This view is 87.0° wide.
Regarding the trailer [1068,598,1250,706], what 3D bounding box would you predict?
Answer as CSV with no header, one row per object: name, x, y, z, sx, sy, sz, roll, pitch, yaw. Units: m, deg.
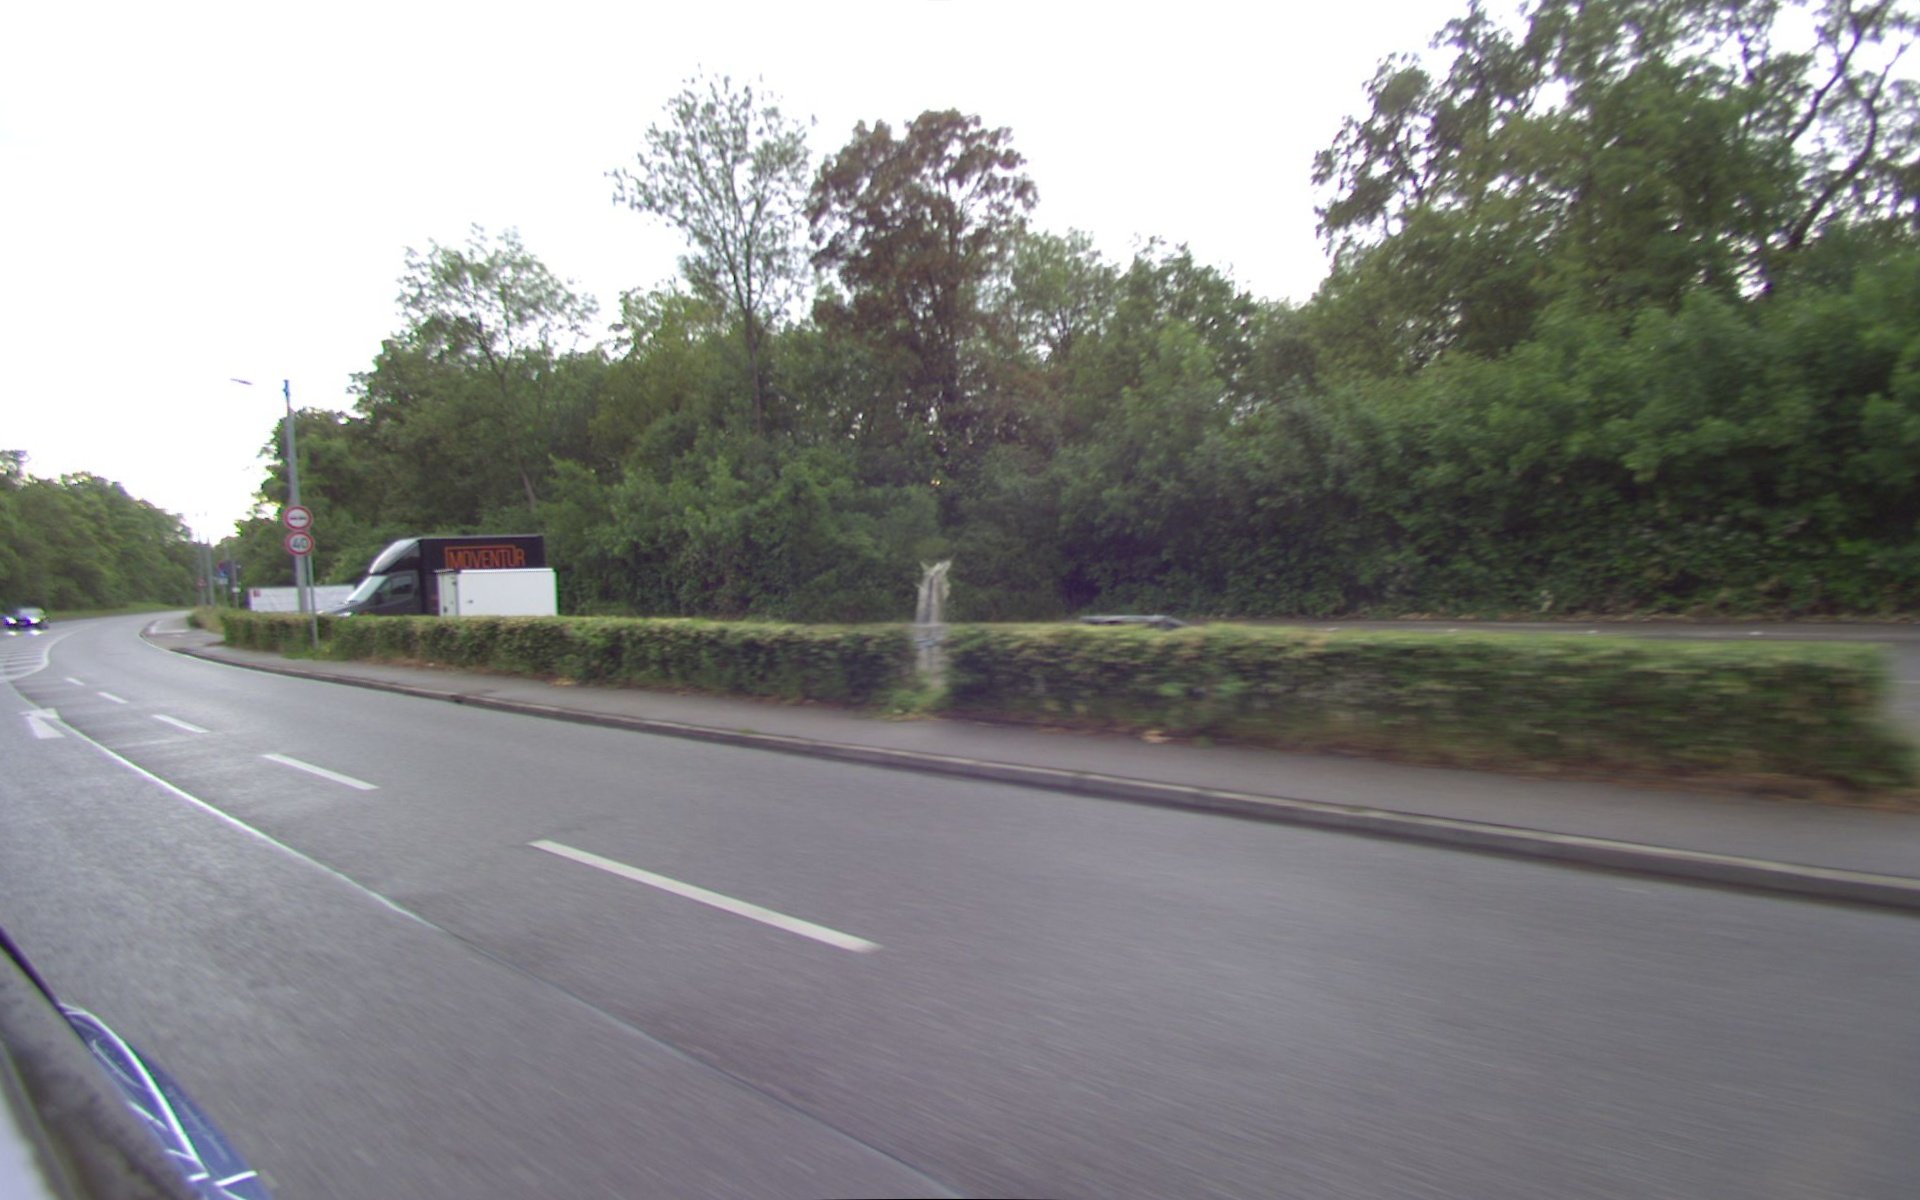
trailer,2.266,0.537,11.387,1.332,1.042,1.784,-1,1,38

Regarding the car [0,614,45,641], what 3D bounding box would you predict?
car,-63.694,1.847,68.628,1.967,1.696,4.009,-2,1,-36

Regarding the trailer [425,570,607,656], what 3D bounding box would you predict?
trailer,-11.666,0.275,26.740,1.874,2.068,3.942,-1,1,44

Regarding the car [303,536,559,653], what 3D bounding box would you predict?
car,-15.707,-0.262,30.400,2.751,3.136,6.207,0,2,41

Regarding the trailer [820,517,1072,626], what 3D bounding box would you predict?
trailer,-0.630,-0.737,30.453,7.974,2.895,2.450,-1,1,42
